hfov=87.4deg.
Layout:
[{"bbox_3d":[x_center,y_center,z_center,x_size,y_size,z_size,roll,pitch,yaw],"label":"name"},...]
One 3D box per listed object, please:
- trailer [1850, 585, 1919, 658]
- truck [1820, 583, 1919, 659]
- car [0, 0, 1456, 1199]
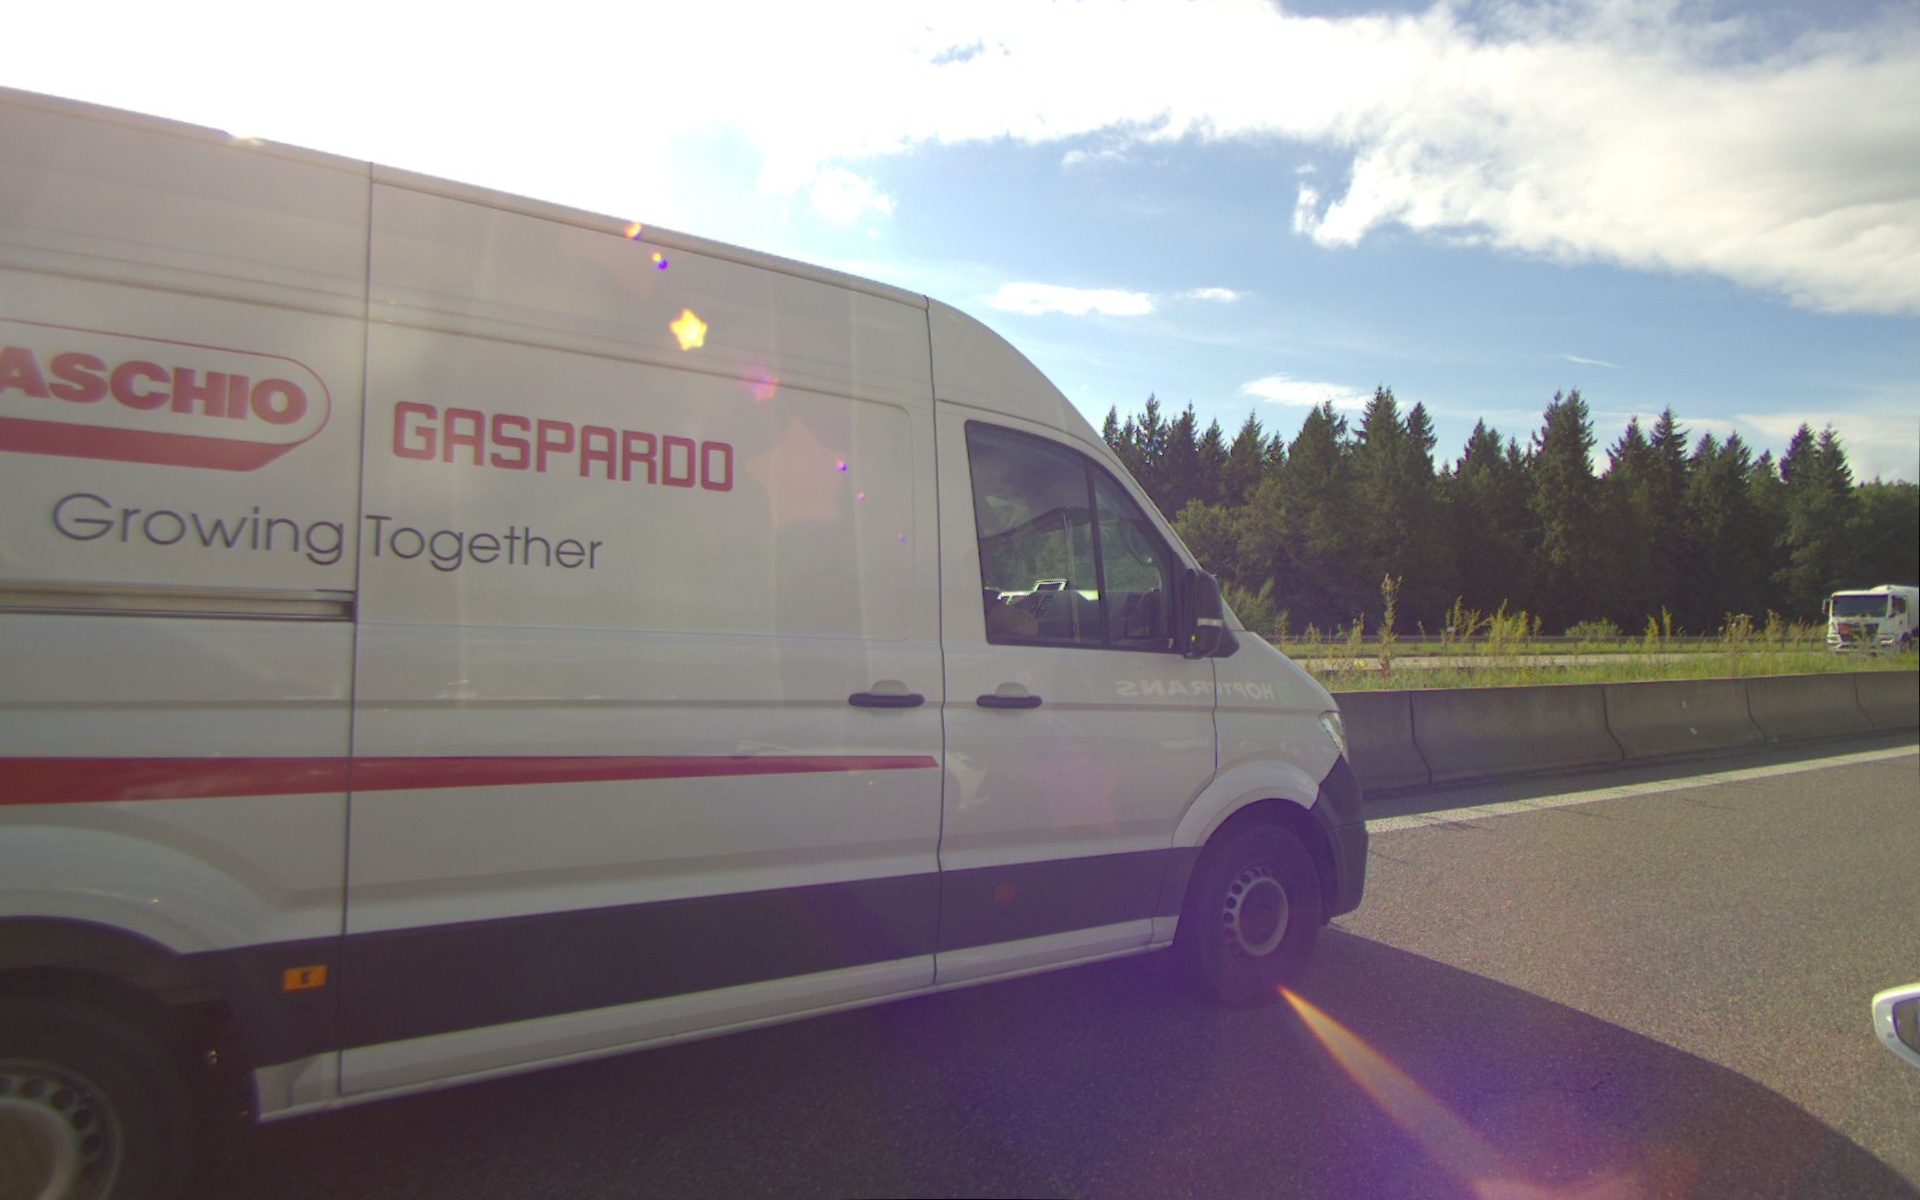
[{"bbox_3d":[47.346,1.089,49.168,10.745,3.328,2.311,1,0,-30],"label":"trailer"},{"bbox_3d":[42.418,0.978,46.332,6.032,3.317,2.307,1,0,-30],"label":"truck"},{"bbox_3d":[-1.008,0.181,3.568,6.110,2.633,2.005,1,-1,-31],"label":"car"}]
